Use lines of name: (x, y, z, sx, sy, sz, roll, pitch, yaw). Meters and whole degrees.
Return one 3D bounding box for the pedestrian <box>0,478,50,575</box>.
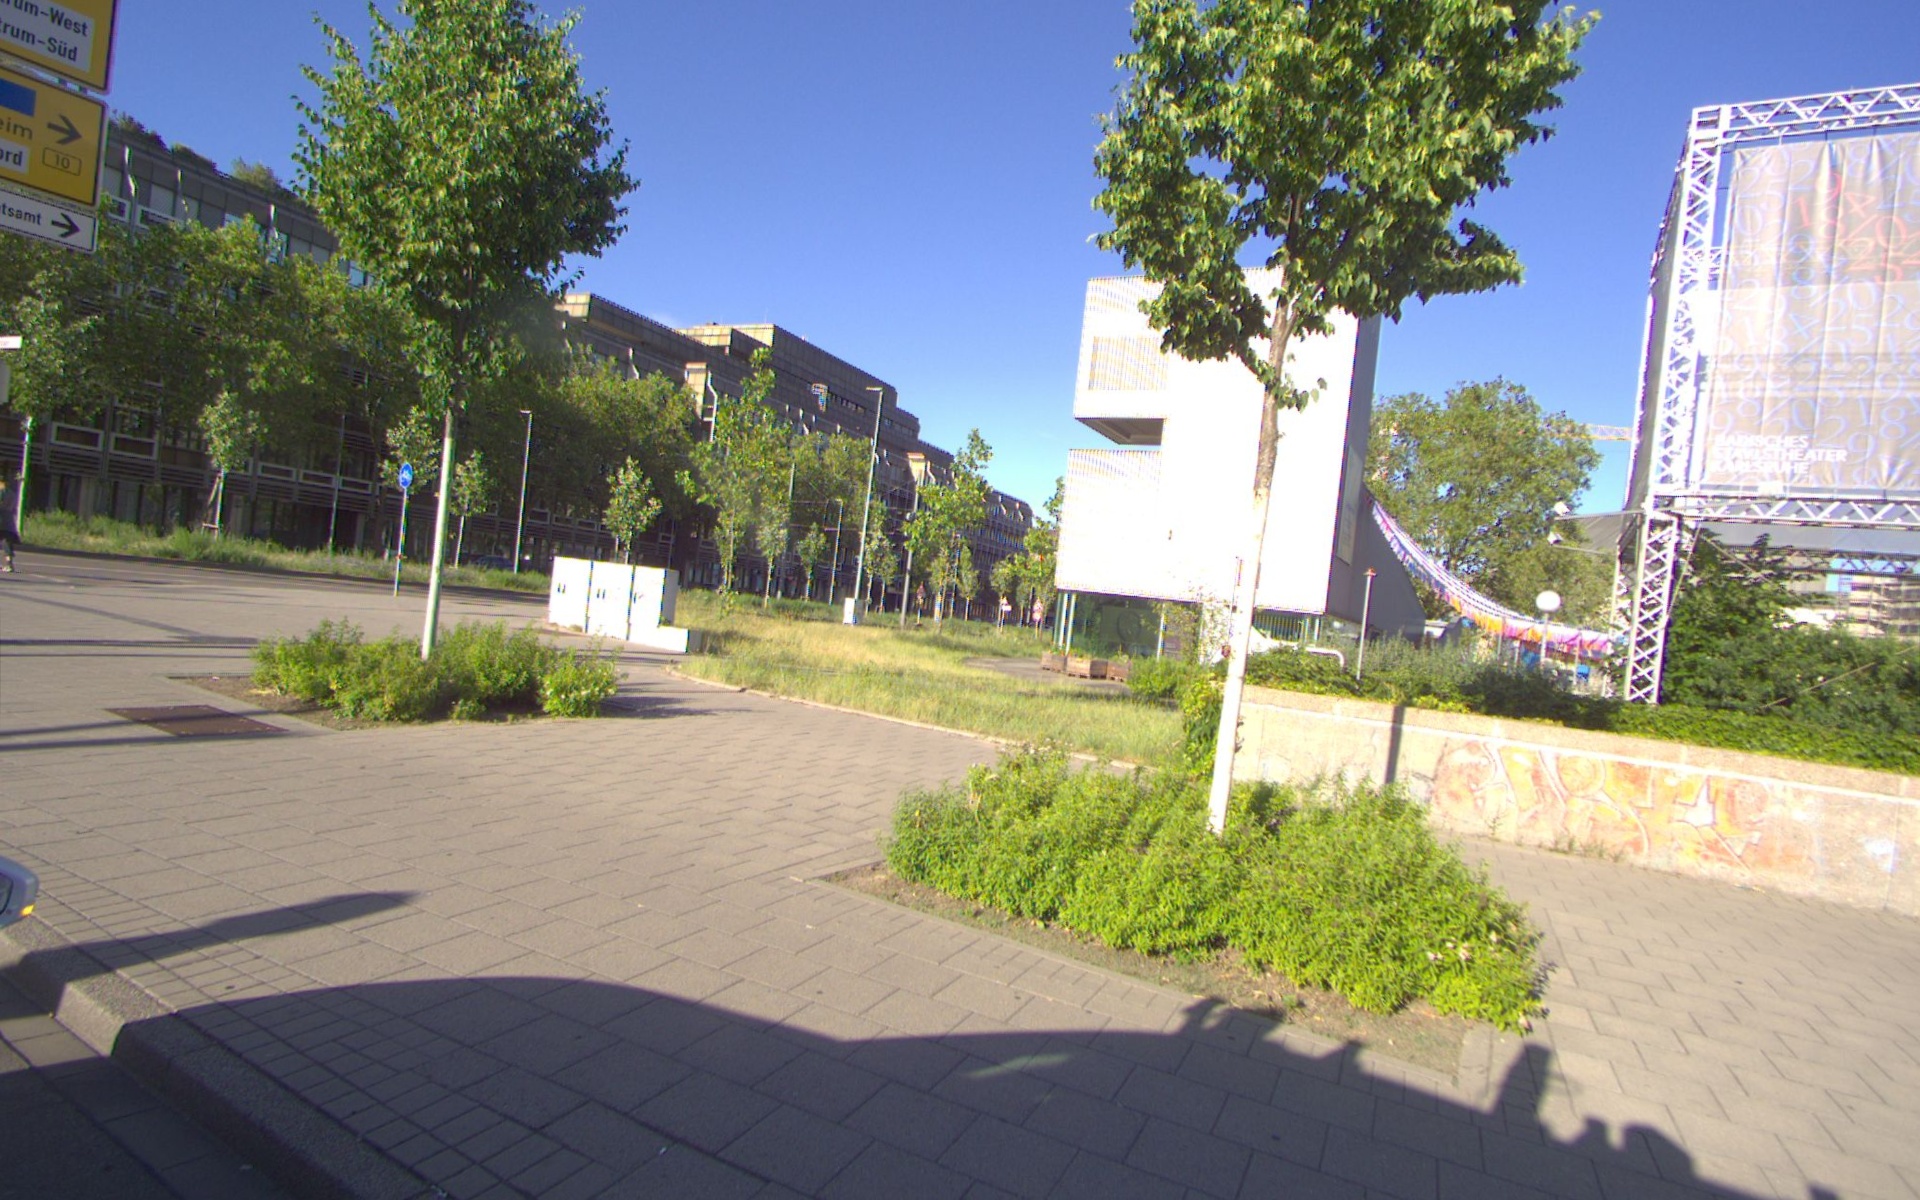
pedestrian: (-17.665, -1.382, 18.475, 0.946, 1.684, 0.882, 7, -1, 16)
